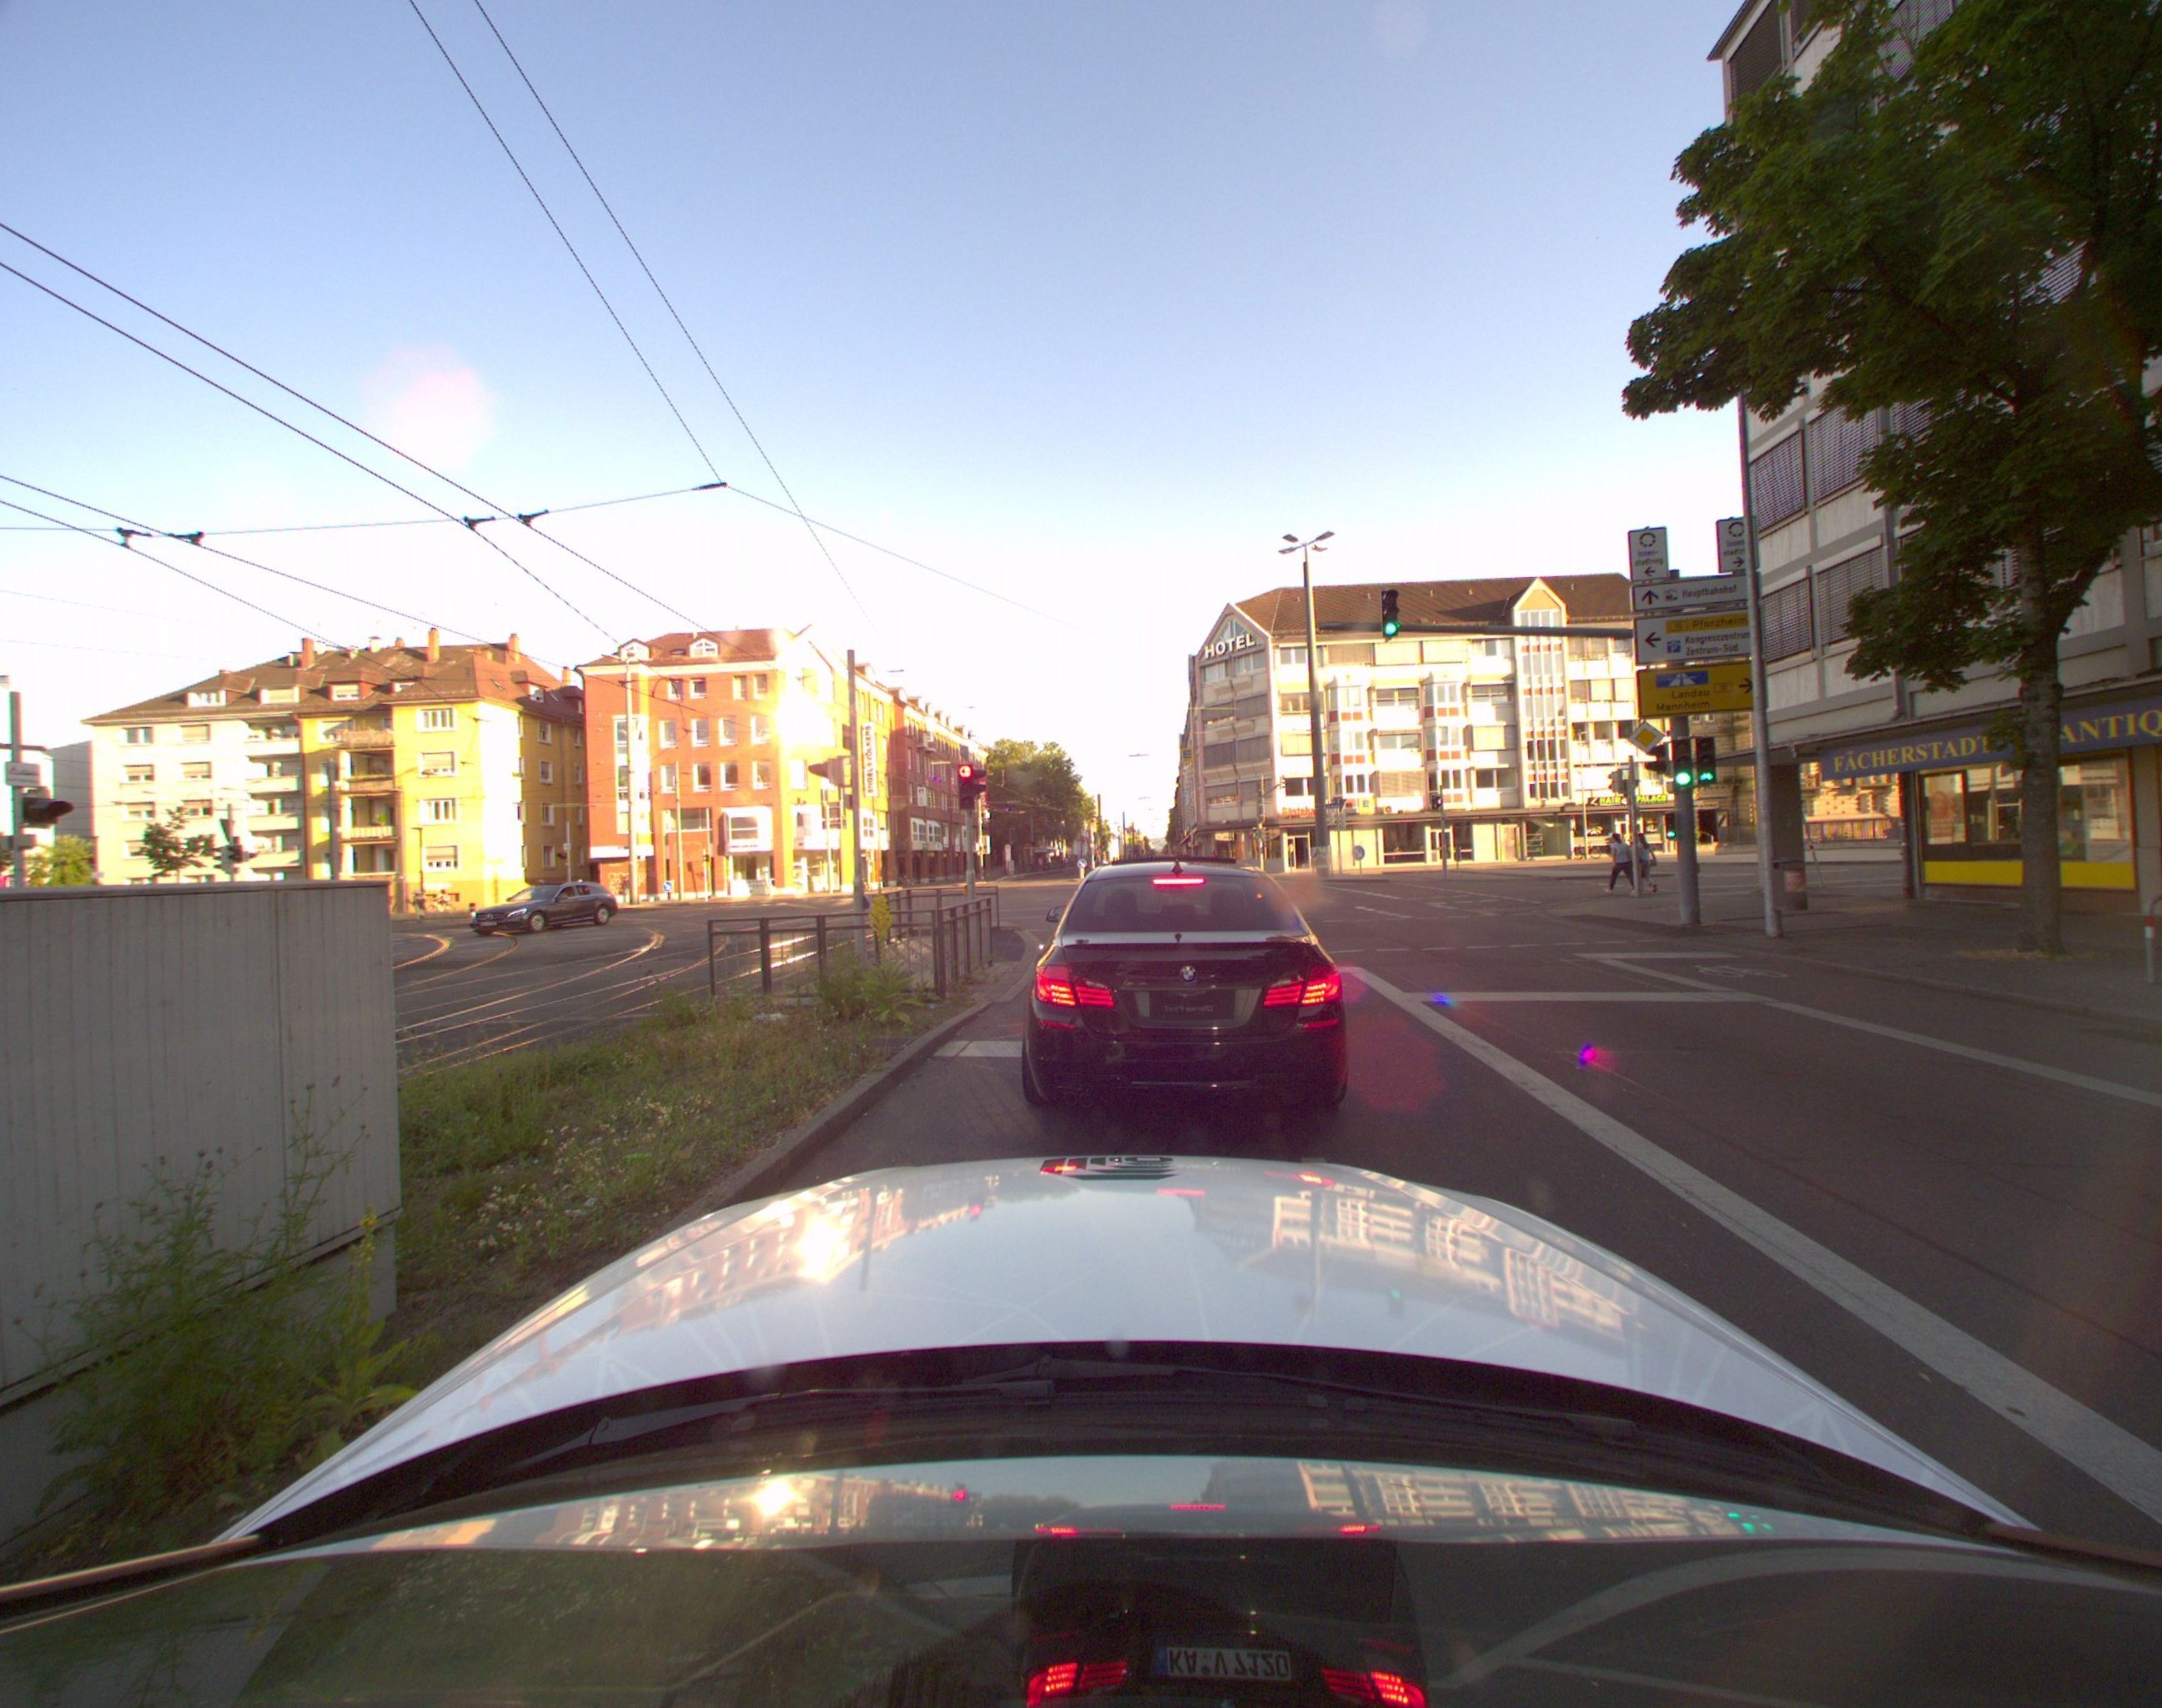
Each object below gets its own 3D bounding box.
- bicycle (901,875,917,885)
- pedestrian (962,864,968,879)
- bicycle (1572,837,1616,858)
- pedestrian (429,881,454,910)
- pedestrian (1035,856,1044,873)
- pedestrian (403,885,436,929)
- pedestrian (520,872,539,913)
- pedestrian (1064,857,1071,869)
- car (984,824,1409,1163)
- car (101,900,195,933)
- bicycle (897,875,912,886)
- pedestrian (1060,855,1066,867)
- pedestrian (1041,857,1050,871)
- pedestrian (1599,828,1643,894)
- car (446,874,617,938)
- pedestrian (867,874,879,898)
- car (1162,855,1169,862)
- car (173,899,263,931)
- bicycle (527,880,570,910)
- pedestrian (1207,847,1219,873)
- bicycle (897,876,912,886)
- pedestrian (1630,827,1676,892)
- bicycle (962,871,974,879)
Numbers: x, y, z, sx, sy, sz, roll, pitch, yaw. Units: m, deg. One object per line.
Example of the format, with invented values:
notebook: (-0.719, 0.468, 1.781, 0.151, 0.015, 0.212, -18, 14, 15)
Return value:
bicycle: (-15.874, 2.403, 75.018, 1.413, 0.922, 0.442, -1, 0, -11)
pedestrian: (-13.450, 2.000, 94.396, 0.483, 1.681, 0.657, -3, 0, 10)
bicycle: (34.873, -0.425, 55.396, 2.397, 1.265, 0.823, -3, 0, 0)
pedestrian: (-41.854, 2.709, 53.318, 0.938, 1.868, 0.838, -1, 0, -4)
pedestrian: (-4.825, 1.213, 94.546, 0.983, 2.014, 0.727, -1, -1, 4)
pedestrian: (-29.691, 2.364, 36.558, 0.828, 1.868, 0.949, -1, 0, 36)
pedestrian: (-25.710, 1.791, 37.974, 0.500, 1.868, 0.563, -1, 0, 0)
pedestrian: (-1.969, 1.314, 119.266, 0.719, 1.681, 0.993, -3, 0, 8)
car: (0.597, 0.653, 5.833, 1.986, 1.585, 4.001, 0, 0, 1)
car: (-63.324, 4.221, 55.328, 3.975, 2.014, 1.999, -1, 0, -1)
bicycle: (-16.009, 2.412, 73.758, 1.286, 0.922, 0.348, -1, 0, -11)
pedestrian: (-2.564, 1.062, 117.330, 0.719, 1.681, 0.993, -3, 0, 8)
pedestrian: (-4.361, 1.264, 99.637, 0.983, 1.681, 0.727, -3, 0, 4)
pedestrian: (14.155, 0.182, 21.351, 0.680, 1.667, 0.673, -3, -1, 9)
car: (-16.808, 1.527, 25.255, 1.985, 1.585, 4.483, -3, 0, 3)
pedestrian: (-17.073, 2.618, 66.747, 0.626, 1.868, 0.683, -1, 0, 32)
car: (20.066, 1.136, 193.728, 1.466, 1.515, 3.100, -3, 0, 5)
car: (-58.773, 4.137, 55.516, 3.975, 2.014, 1.999, -1, 0, -1)
bicycle: (-25.119, 1.920, 38.455, 0.615, 1.325, 2.016, -1, 0, 2)
pedestrian: (9.582, 0.458, 59.137, 0.682, 1.854, 0.671, -3, -1, 2)
bicycle: (-15.833, 2.407, 73.106, 1.281, 0.922, 0.349, -1, 0, 1)
pedestrian: (15.077, 0.144, 21.482, 0.719, 1.667, 0.673, -3, -1, 9)
bicycle: (-13.287, 2.502, 95.552, 1.412, 0.922, 0.402, -1, 0, -8)
